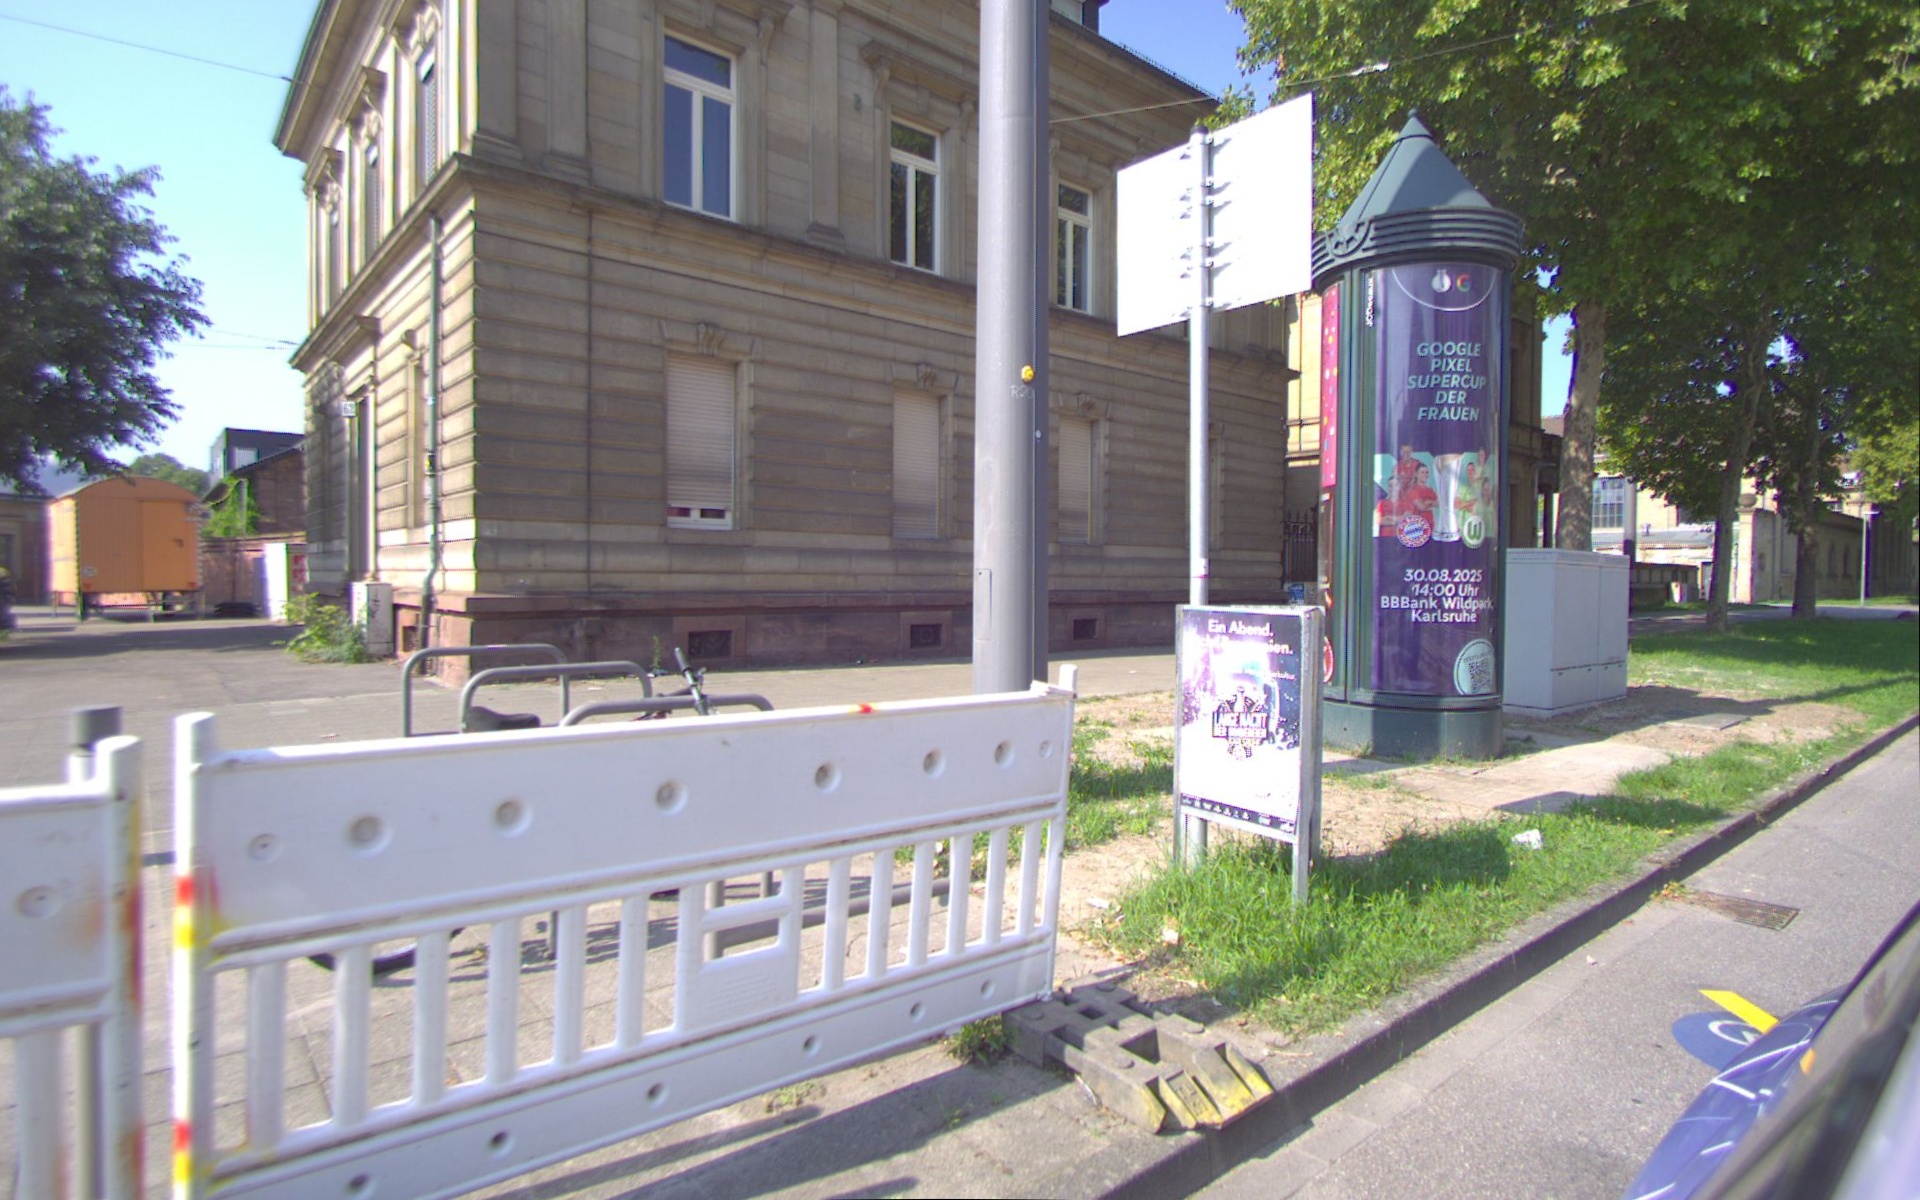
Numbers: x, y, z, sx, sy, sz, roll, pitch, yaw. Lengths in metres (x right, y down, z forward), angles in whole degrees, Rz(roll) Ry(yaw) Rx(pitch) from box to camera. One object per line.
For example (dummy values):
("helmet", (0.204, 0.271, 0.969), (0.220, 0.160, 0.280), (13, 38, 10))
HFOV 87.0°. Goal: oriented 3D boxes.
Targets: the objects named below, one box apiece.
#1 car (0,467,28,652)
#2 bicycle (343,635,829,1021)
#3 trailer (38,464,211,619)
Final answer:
("car", (-15.199, -0.515, 12.463), (2.259, 2.453, 5.401), (2, 2, 45))
("bicycle", (-1.272, 0.685, 3.627), (1.543, 1.018, 0.539), (-1, 3, -40))
("trailer", (-18.642, -1.234, 22.533), (4.107, 3.085, 2.475), (1, 2, 44))
